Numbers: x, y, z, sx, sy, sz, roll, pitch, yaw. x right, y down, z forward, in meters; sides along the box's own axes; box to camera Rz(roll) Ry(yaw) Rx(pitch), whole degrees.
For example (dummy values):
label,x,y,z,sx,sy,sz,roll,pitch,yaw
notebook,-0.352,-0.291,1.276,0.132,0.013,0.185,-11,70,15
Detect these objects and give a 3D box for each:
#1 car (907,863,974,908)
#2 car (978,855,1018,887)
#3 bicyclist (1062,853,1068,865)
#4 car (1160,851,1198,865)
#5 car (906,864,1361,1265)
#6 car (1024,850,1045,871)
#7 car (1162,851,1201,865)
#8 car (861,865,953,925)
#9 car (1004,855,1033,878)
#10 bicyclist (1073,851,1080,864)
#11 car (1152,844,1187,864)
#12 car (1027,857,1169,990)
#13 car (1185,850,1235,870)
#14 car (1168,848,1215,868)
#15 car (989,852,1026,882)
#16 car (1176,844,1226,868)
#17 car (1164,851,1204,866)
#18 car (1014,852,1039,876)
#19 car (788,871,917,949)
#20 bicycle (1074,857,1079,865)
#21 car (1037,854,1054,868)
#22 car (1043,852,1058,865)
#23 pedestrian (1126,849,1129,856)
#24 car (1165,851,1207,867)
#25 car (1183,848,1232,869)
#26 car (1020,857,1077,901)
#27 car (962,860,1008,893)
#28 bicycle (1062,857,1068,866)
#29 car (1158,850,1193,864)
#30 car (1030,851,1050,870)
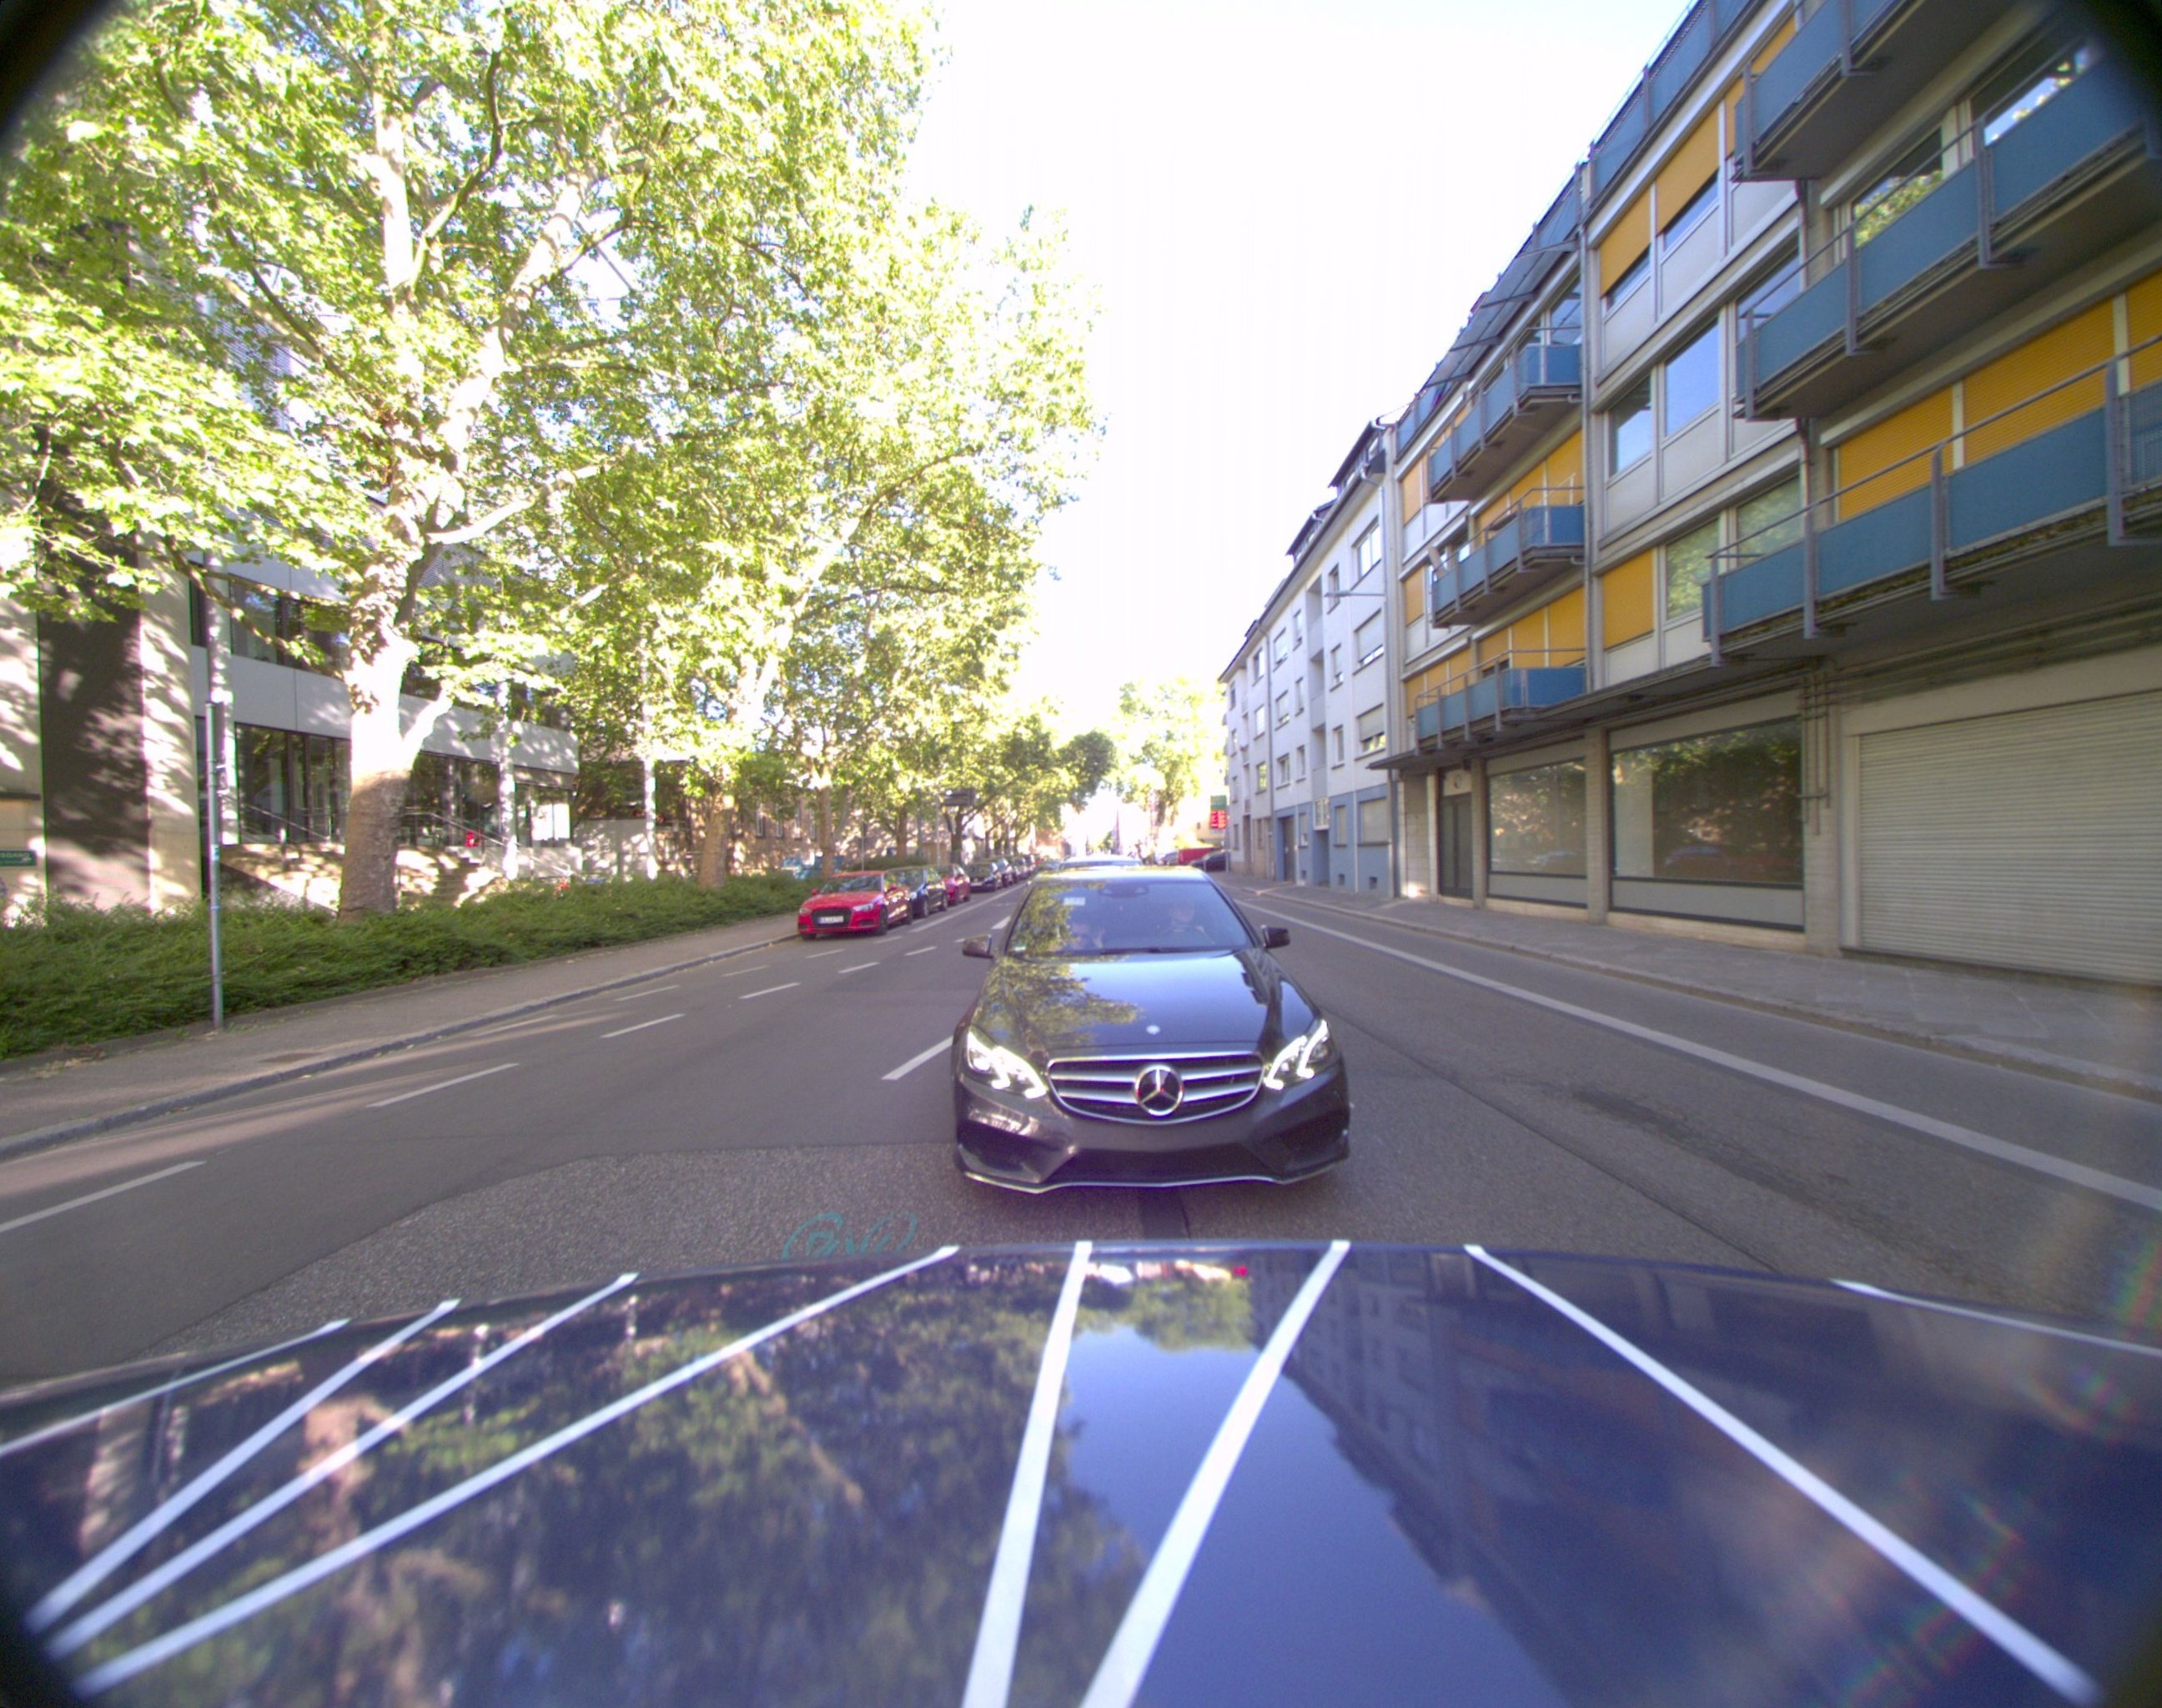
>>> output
label,x,y,z,sx,sy,sz,roll,pitch,yaw
car,-5.010,1.096,27.609,1.666,1.426,3.781,-2,0,0
car,-4.539,0.910,42.068,1.686,1.610,3.836,-2,0,0
bicyclist,-2.113,0.686,99.260,0.756,1.512,0.768,-2,1,-1
car,10.527,0.406,82.136,3.905,1.325,1.525,-2,1,2
car,0.212,0.900,5.288,1.828,1.495,4.293,-2,1,0
car,-4.254,0.591,70.231,1.646,1.839,3.836,-2,0,0
car,10.518,0.433,79.747,3.905,1.325,1.525,-2,1,2
car,-5.014,1.131,22.424,1.686,1.458,4.000,-3,0,0
car,-4.427,0.877,54.517,1.686,1.552,3.868,-2,0,0
bicyclist,-0.615,0.496,102.091,0.756,1.714,0.768,-2,1,-1
car,10.398,0.030,89.314,3.905,2.164,1.725,-2,1,2
car,0.204,0.884,11.663,1.732,1.538,4.293,-2,1,0
car,9.958,0.463,58.735,3.598,1.401,1.534,-2,0,2
car,9.713,0.336,66.780,3.905,1.577,1.603,-2,1,2
car,-4.596,0.774,48.194,1.819,1.758,4.431,-2,0,0
car,10.072,0.171,63.985,3.905,1.895,1.749,-2,1,2
car,10.402,0.434,76.993,3.905,1.366,1.594,-2,1,2
car,-4.219,0.755,59.374,1.663,1.704,3.836,-2,0,0
car,-5.132,1.191,17.665,1.724,1.412,4.030,-4,0,-1
bicycle,-0.567,0.927,102.126,0.667,1.093,1.814,-2,1,0
car,-4.055,0.747,87.068,1.639,1.493,3.752,-2,0,0
car,-3.793,0.599,95.691,1.686,1.546,3.836,-2,0,0
pedestrian,12.696,-0.422,206.740,0.884,2.108,0.821,-2,1,4
car,10.370,0.457,74.971,3.905,1.366,1.594,-2,1,2
car,10.127,0.363,61.140,3.668,1.501,1.602,-2,1,2
car,-1.148,0.890,28.755,1.693,1.432,3.902,-3,0,3
car,-4.667,1.050,37.409,1.686,1.443,4.000,-2,0,0
bicycle,-2.100,1.027,99.274,0.667,1.093,1.814,-2,1,0
car,10.538,0.338,84.821,3.782,1.432,1.539,-2,1,2
car,-4.100,0.637,76.022,1.686,1.749,3.836,-2,0,0
